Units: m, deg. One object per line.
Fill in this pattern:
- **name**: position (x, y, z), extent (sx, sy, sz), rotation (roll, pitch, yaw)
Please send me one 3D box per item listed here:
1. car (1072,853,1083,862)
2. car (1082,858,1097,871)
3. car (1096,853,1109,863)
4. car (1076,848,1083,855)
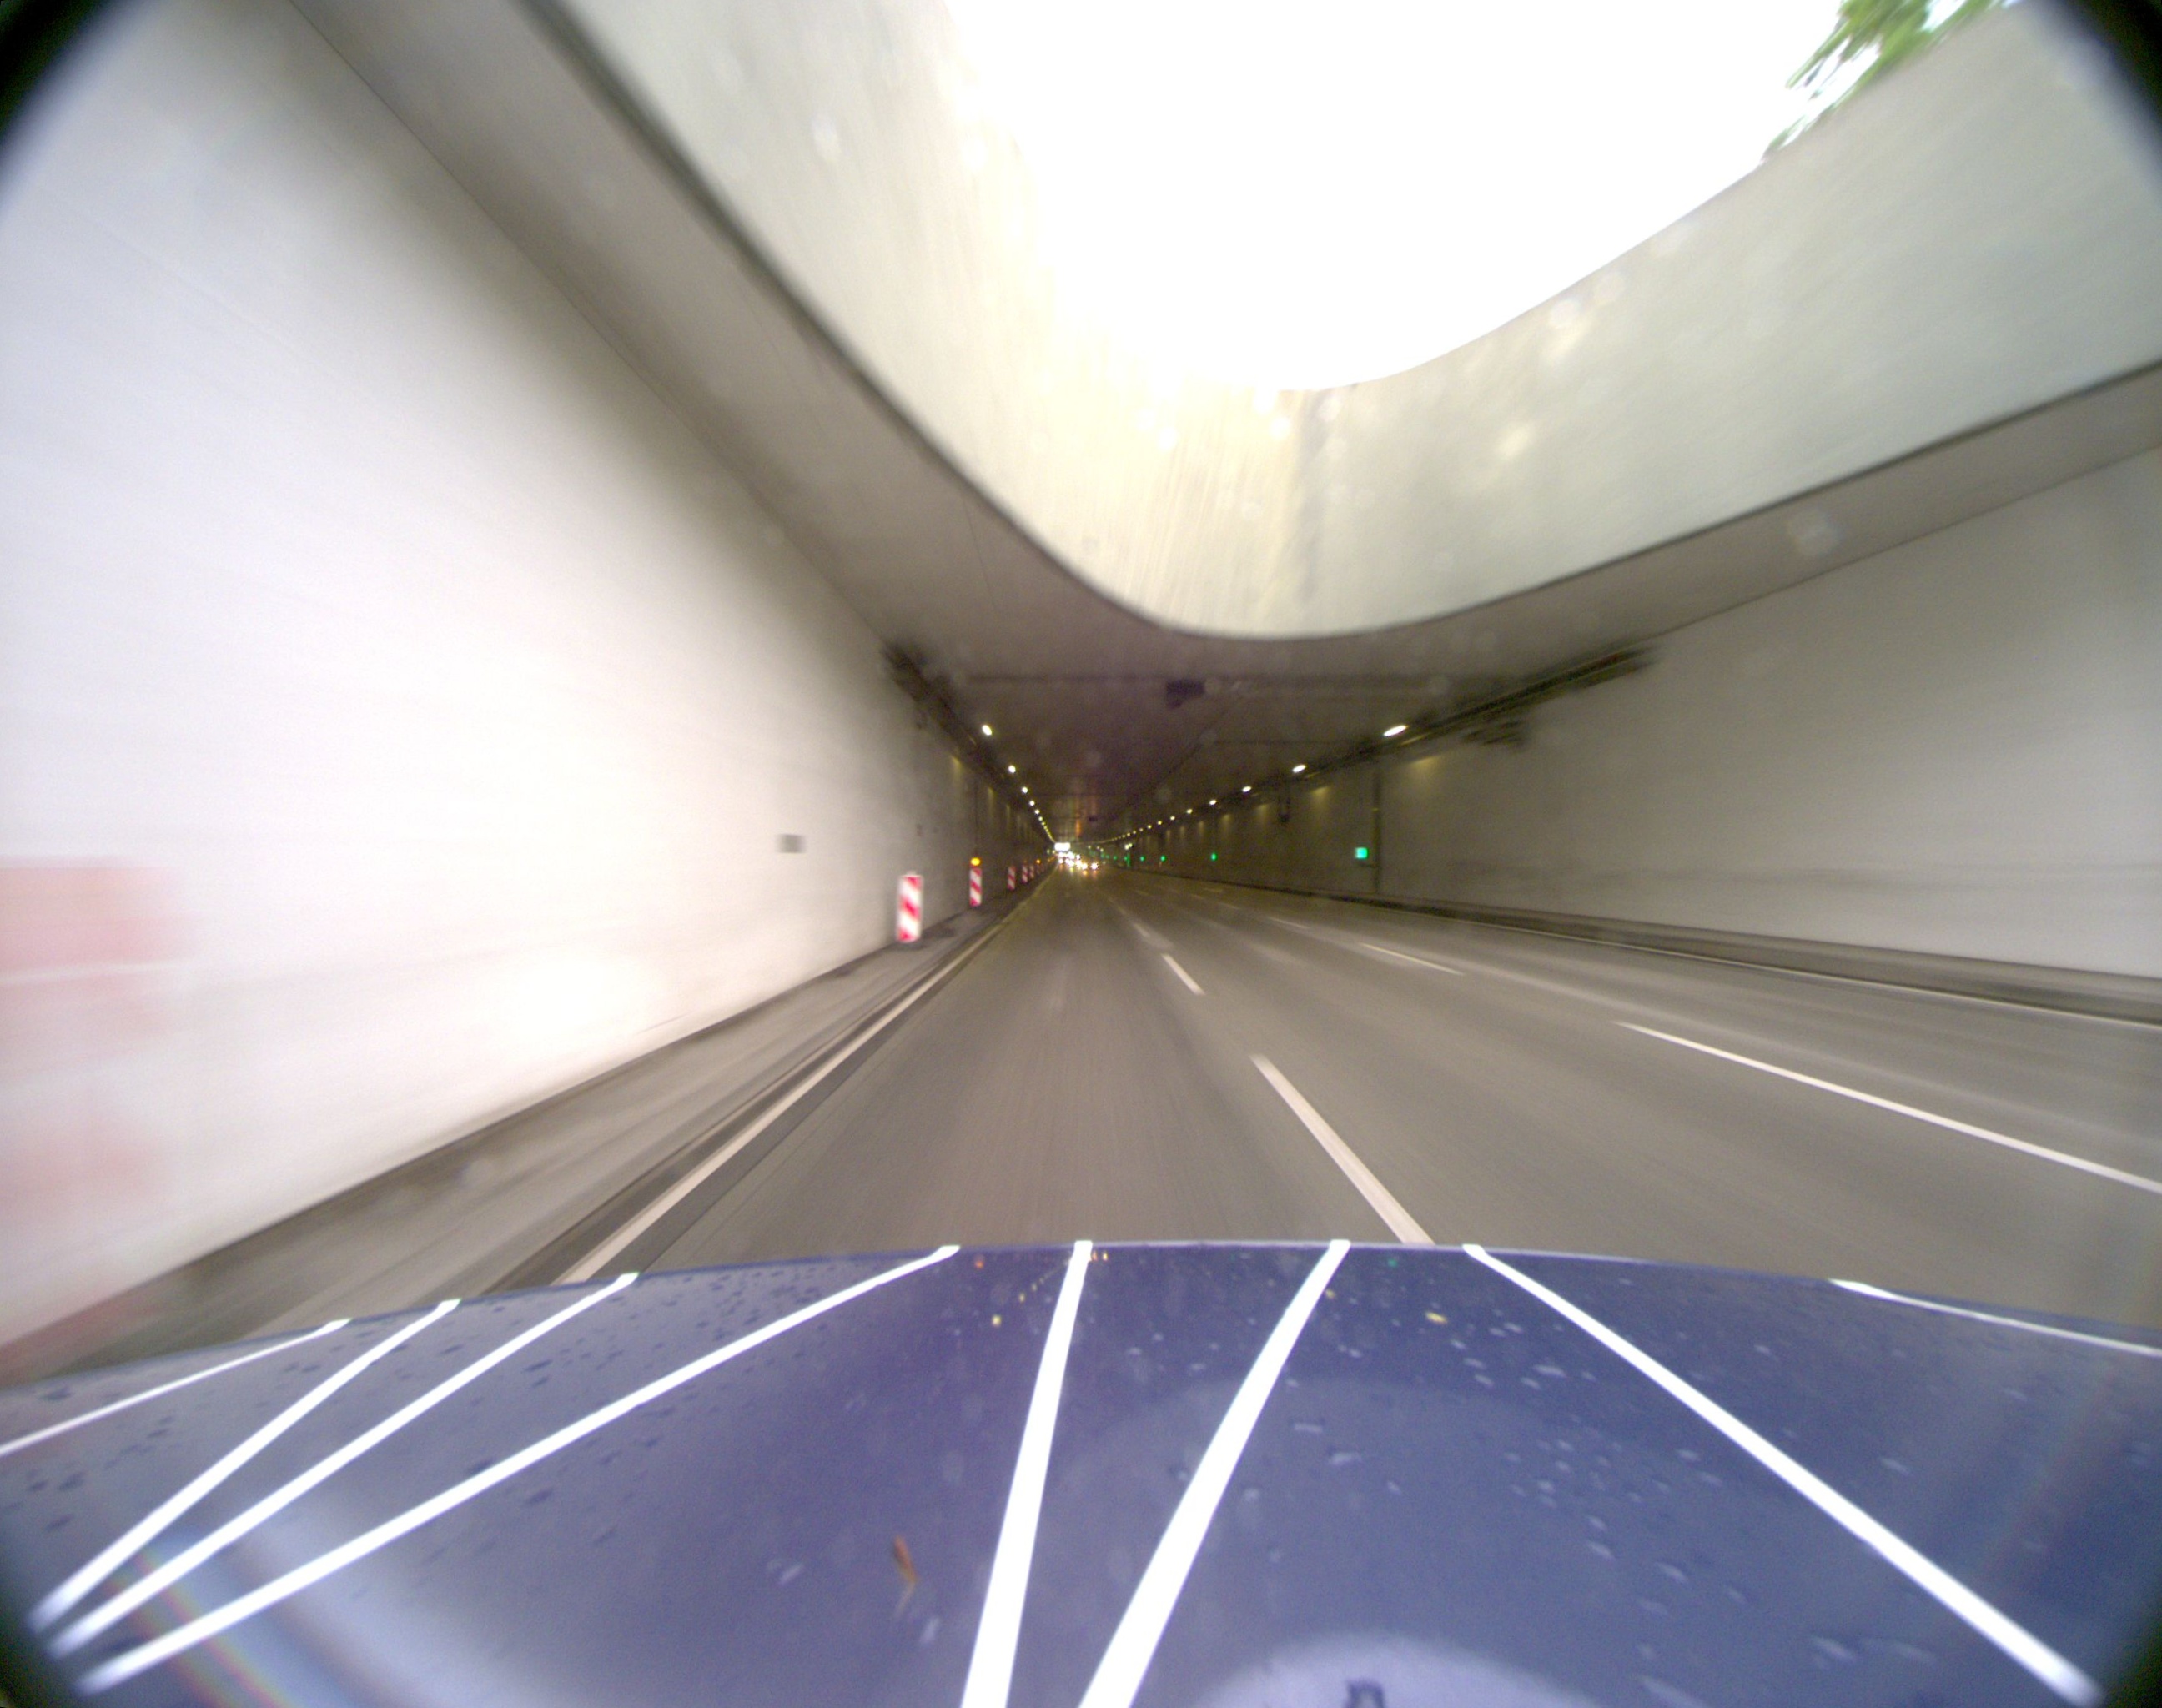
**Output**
- **car**: position (-0.755, 0.640, 147.602), extent (1.999, 1.686, 3.999), rotation (-2, 1, -1)
- **car**: position (1.178, 1.461, 107.409), extent (1.999, 1.686, 3.999), rotation (-2, 1, -1)
- **car**: position (3.713, 0.691, 131.373), extent (1.999, 1.685, 3.999), rotation (2, 0, -1)
- **car**: position (-0.399, -0.777, 222.059), extent (1.999, 1.756, 3.999), rotation (-2, 1, -1)
